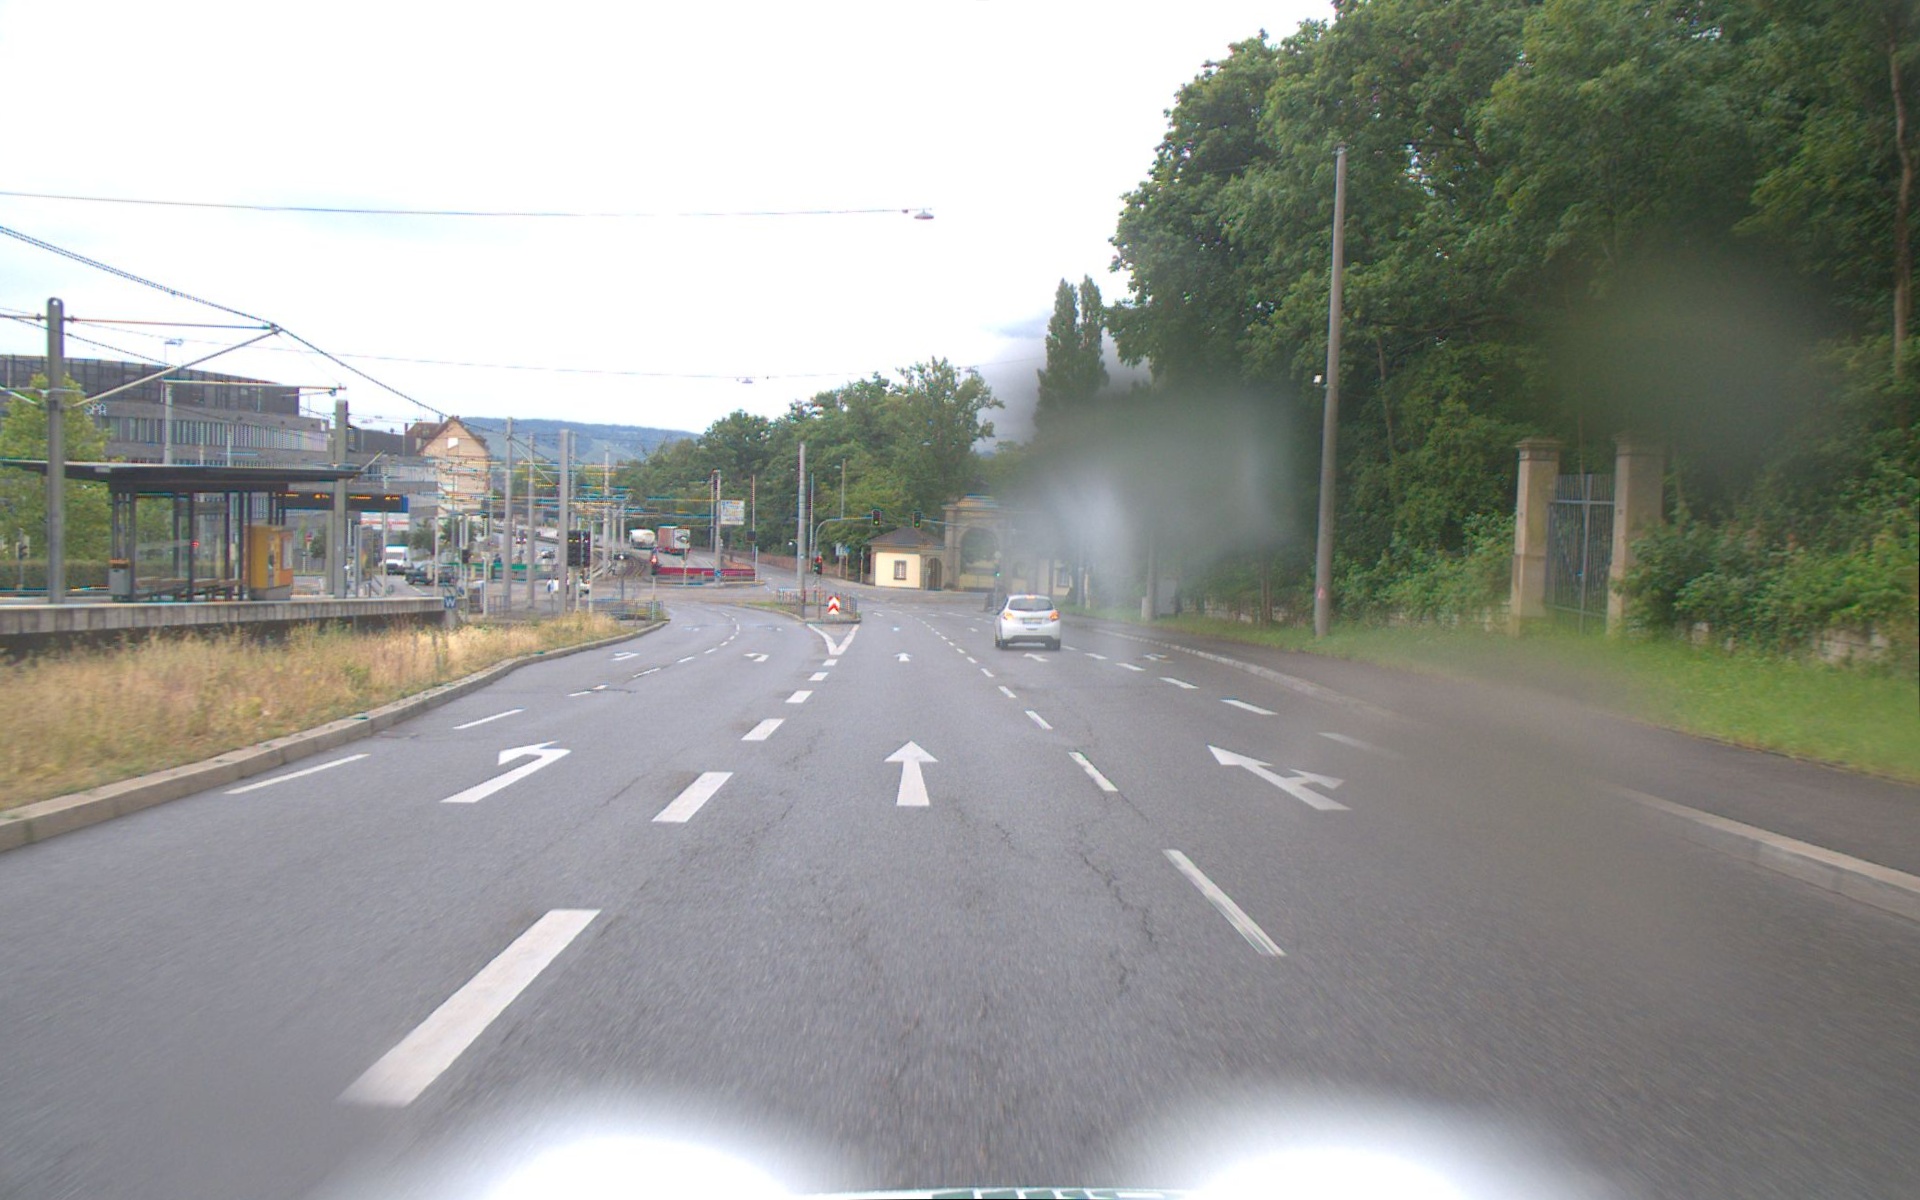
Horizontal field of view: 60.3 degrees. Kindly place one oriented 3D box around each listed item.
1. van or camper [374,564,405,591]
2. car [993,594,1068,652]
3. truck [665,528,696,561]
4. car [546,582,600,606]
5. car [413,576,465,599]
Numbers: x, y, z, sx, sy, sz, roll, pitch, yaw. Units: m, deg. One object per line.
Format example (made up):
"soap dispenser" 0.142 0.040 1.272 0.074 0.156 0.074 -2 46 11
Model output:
"van or camper" -52.222 -2.016 151.406 1.957 2.385 3.991 -1 0 -10
"car" 1.935 0.628 46.294 1.831 1.537 3.898 -1 0 -2
"truck" -42.720 -8.378 252.524 3.357 4.649 11.244 4 0 -15
"car" -28.272 -0.443 120.761 3.928 1.634 1.818 3 2 41
"car" -40.737 -0.981 129.362 3.921 1.735 1.992 1 1 37
